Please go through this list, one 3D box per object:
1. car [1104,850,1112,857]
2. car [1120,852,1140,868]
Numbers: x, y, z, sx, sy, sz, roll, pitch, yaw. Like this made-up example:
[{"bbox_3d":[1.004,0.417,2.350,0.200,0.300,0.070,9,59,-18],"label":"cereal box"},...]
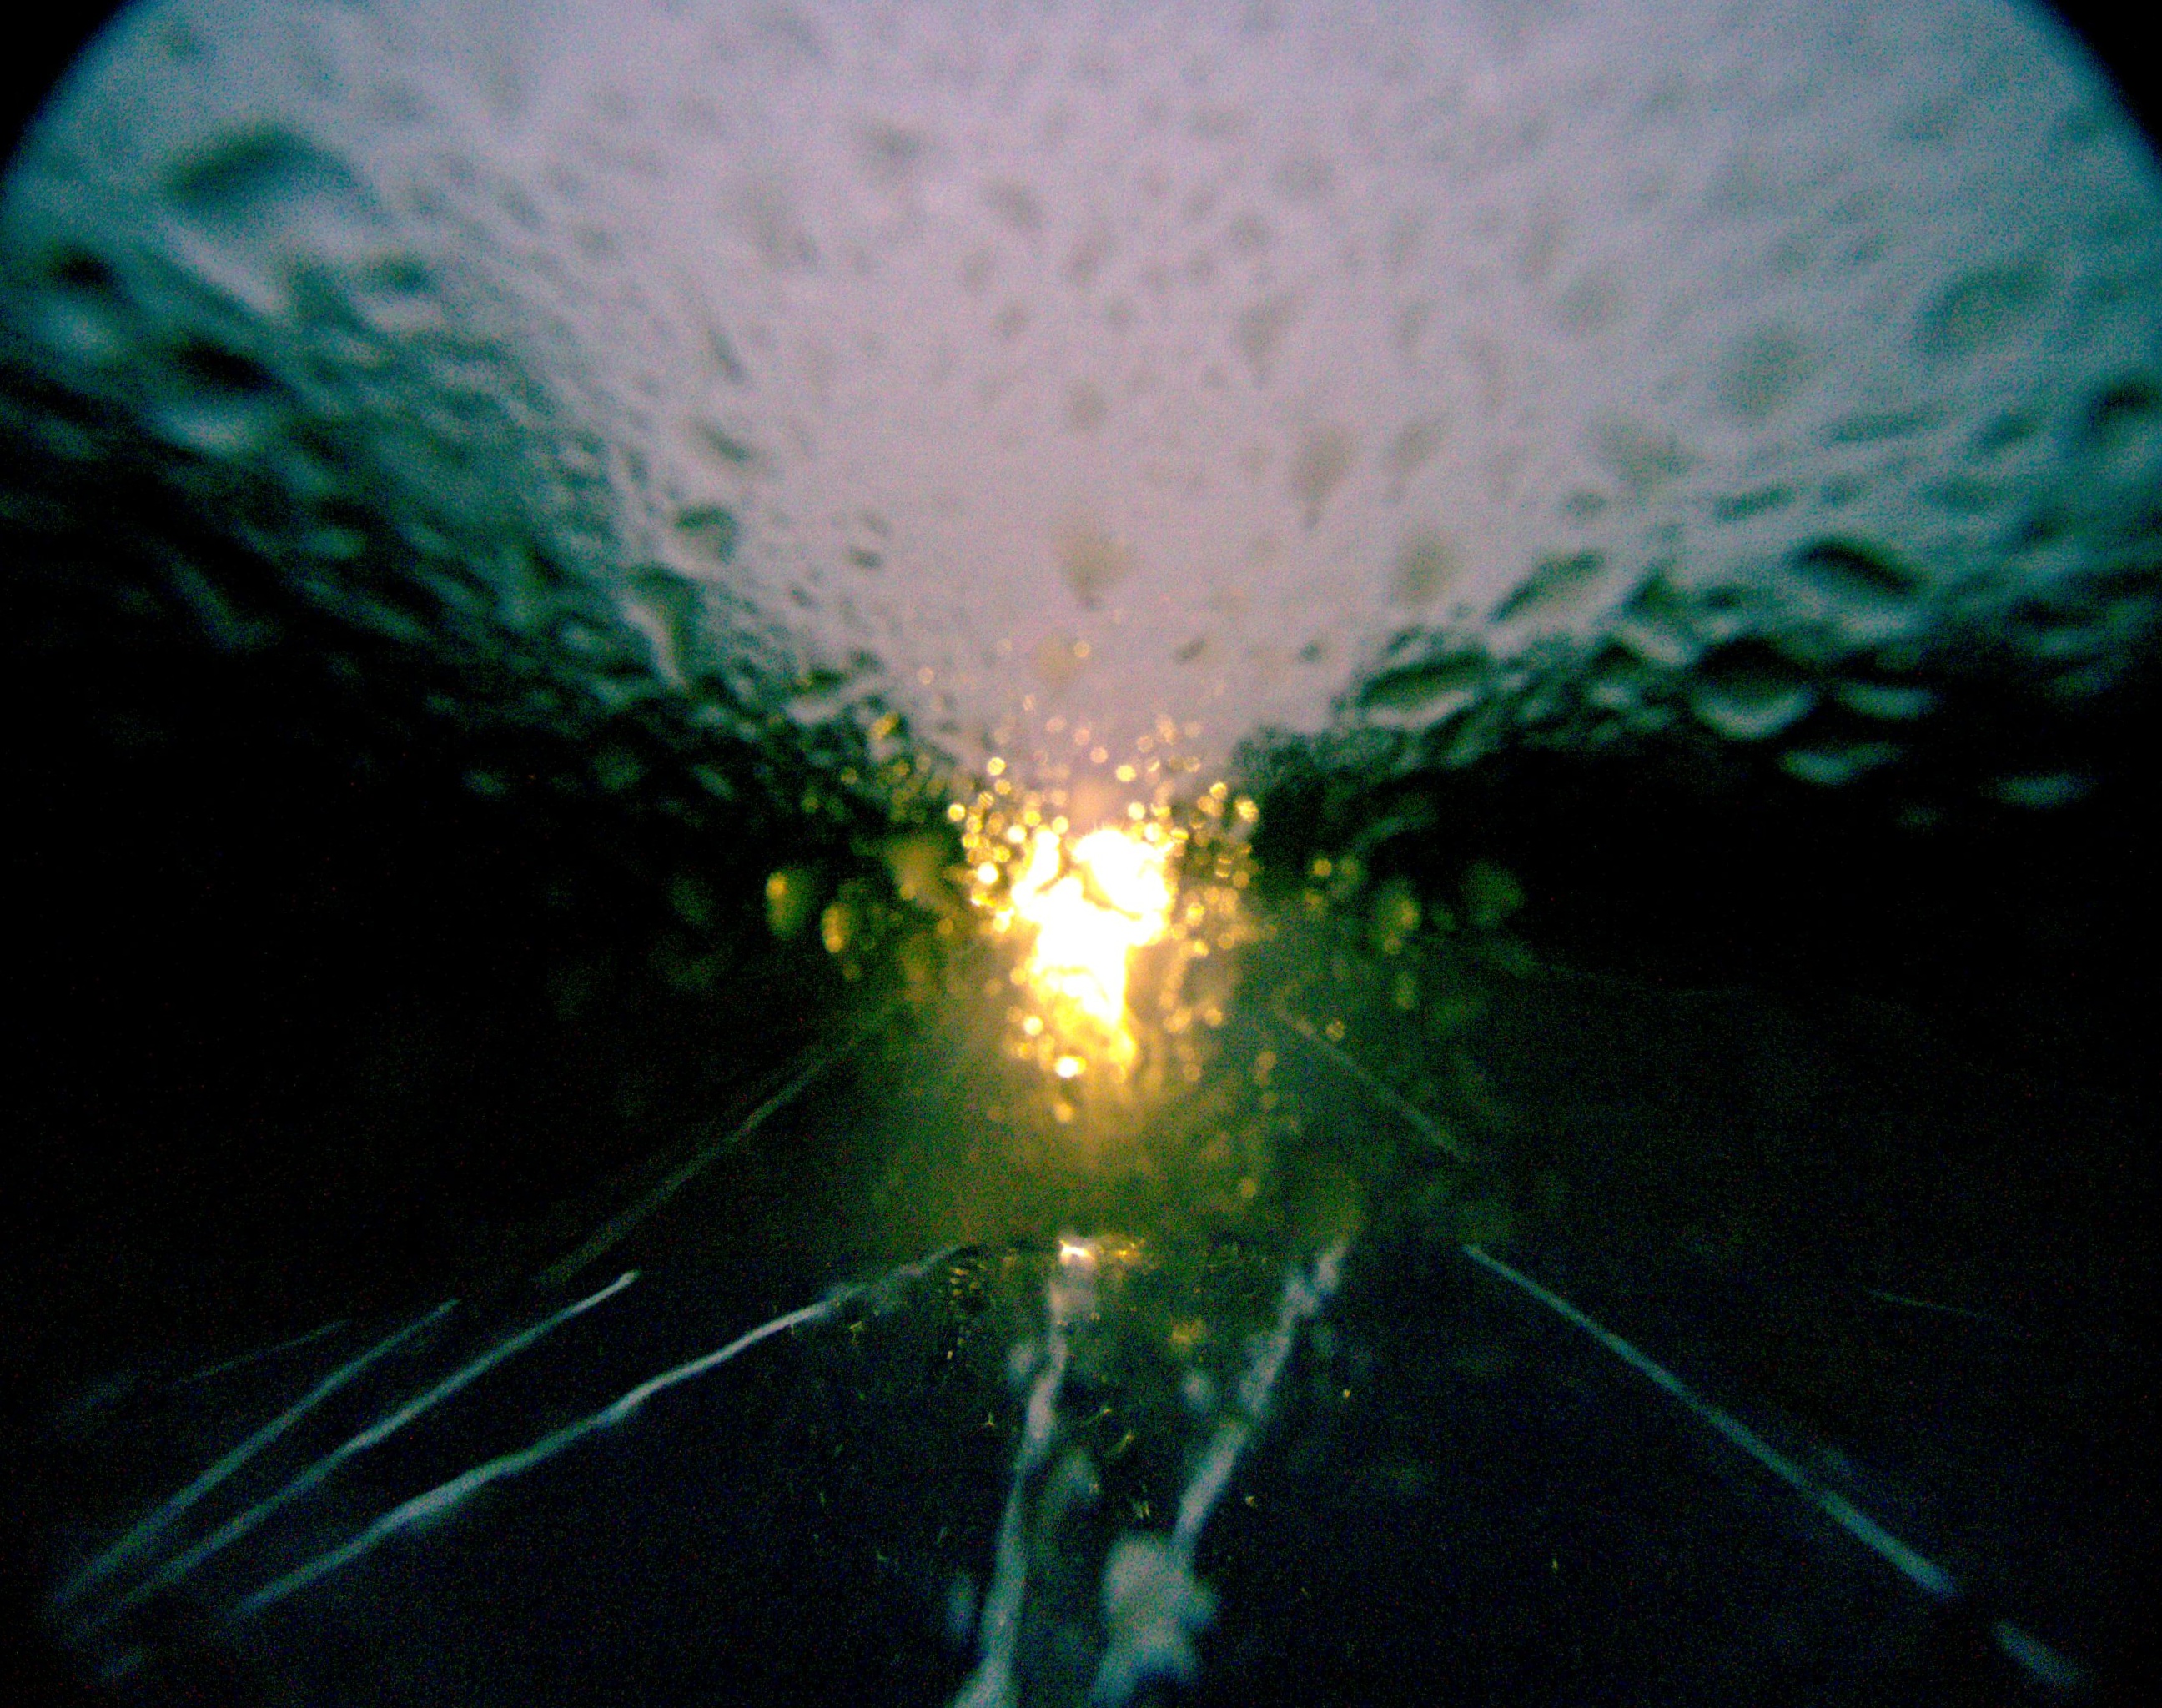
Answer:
[{"bbox_3d":[6.456,-0.112,183.577,1.738,1.525,4.959,-2,0,0],"label":"car"},{"bbox_3d":[4.936,0.597,77.777,1.702,1.487,5.664,-2,0,1],"label":"car"}]
